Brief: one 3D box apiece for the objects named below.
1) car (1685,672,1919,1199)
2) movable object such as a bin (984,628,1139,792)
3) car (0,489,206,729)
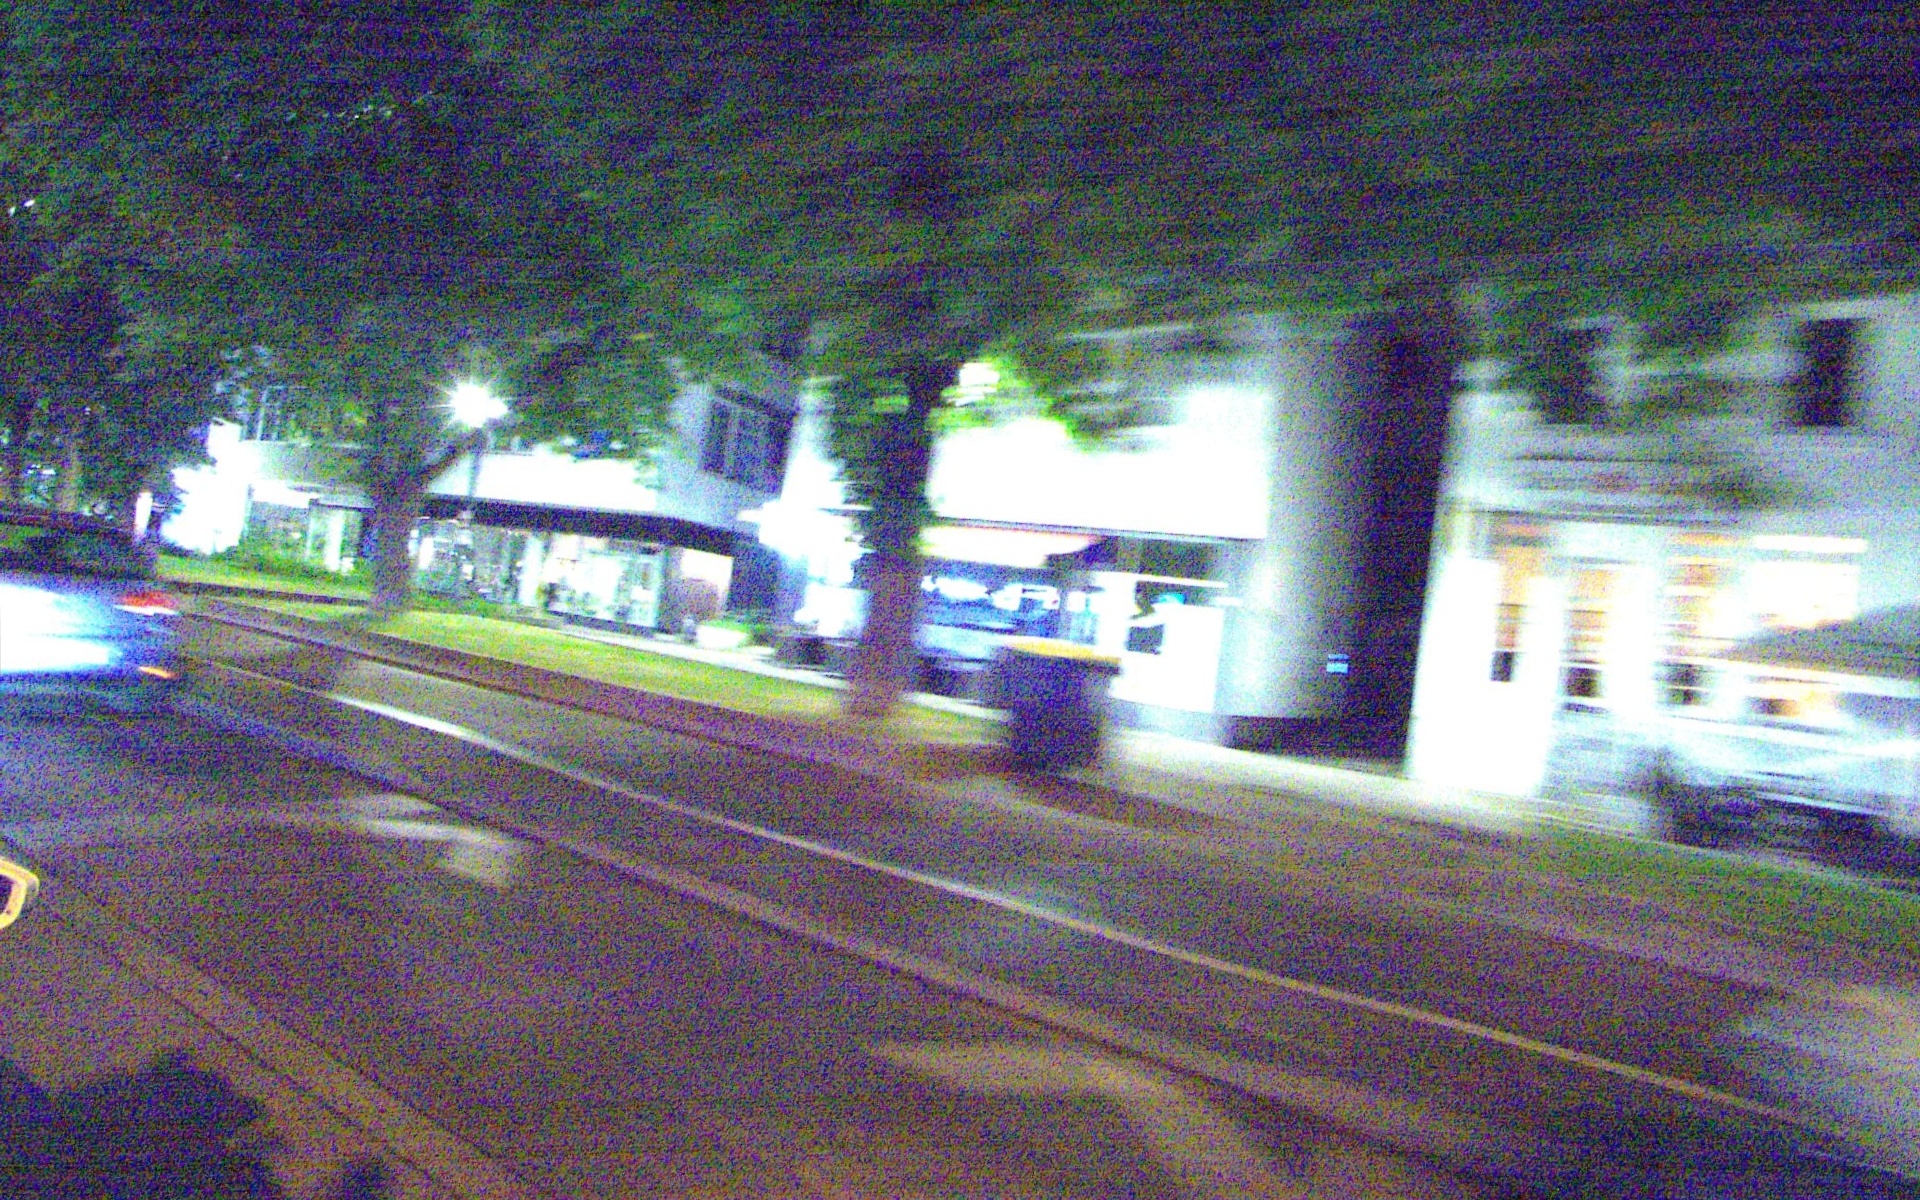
[{"bbox_3d":[3.334,1.121,0.869,4.147,1.556,1.772,7,0,32],"label":"car"},{"bbox_3d":[1.017,1.070,9.880,0.976,1.386,1.163,7,-2,30],"label":"movable object such as a bin"},{"bbox_3d":[-7.763,-0.107,7.779,3.949,1.555,1.692,7,-1,32],"label":"car"}]
